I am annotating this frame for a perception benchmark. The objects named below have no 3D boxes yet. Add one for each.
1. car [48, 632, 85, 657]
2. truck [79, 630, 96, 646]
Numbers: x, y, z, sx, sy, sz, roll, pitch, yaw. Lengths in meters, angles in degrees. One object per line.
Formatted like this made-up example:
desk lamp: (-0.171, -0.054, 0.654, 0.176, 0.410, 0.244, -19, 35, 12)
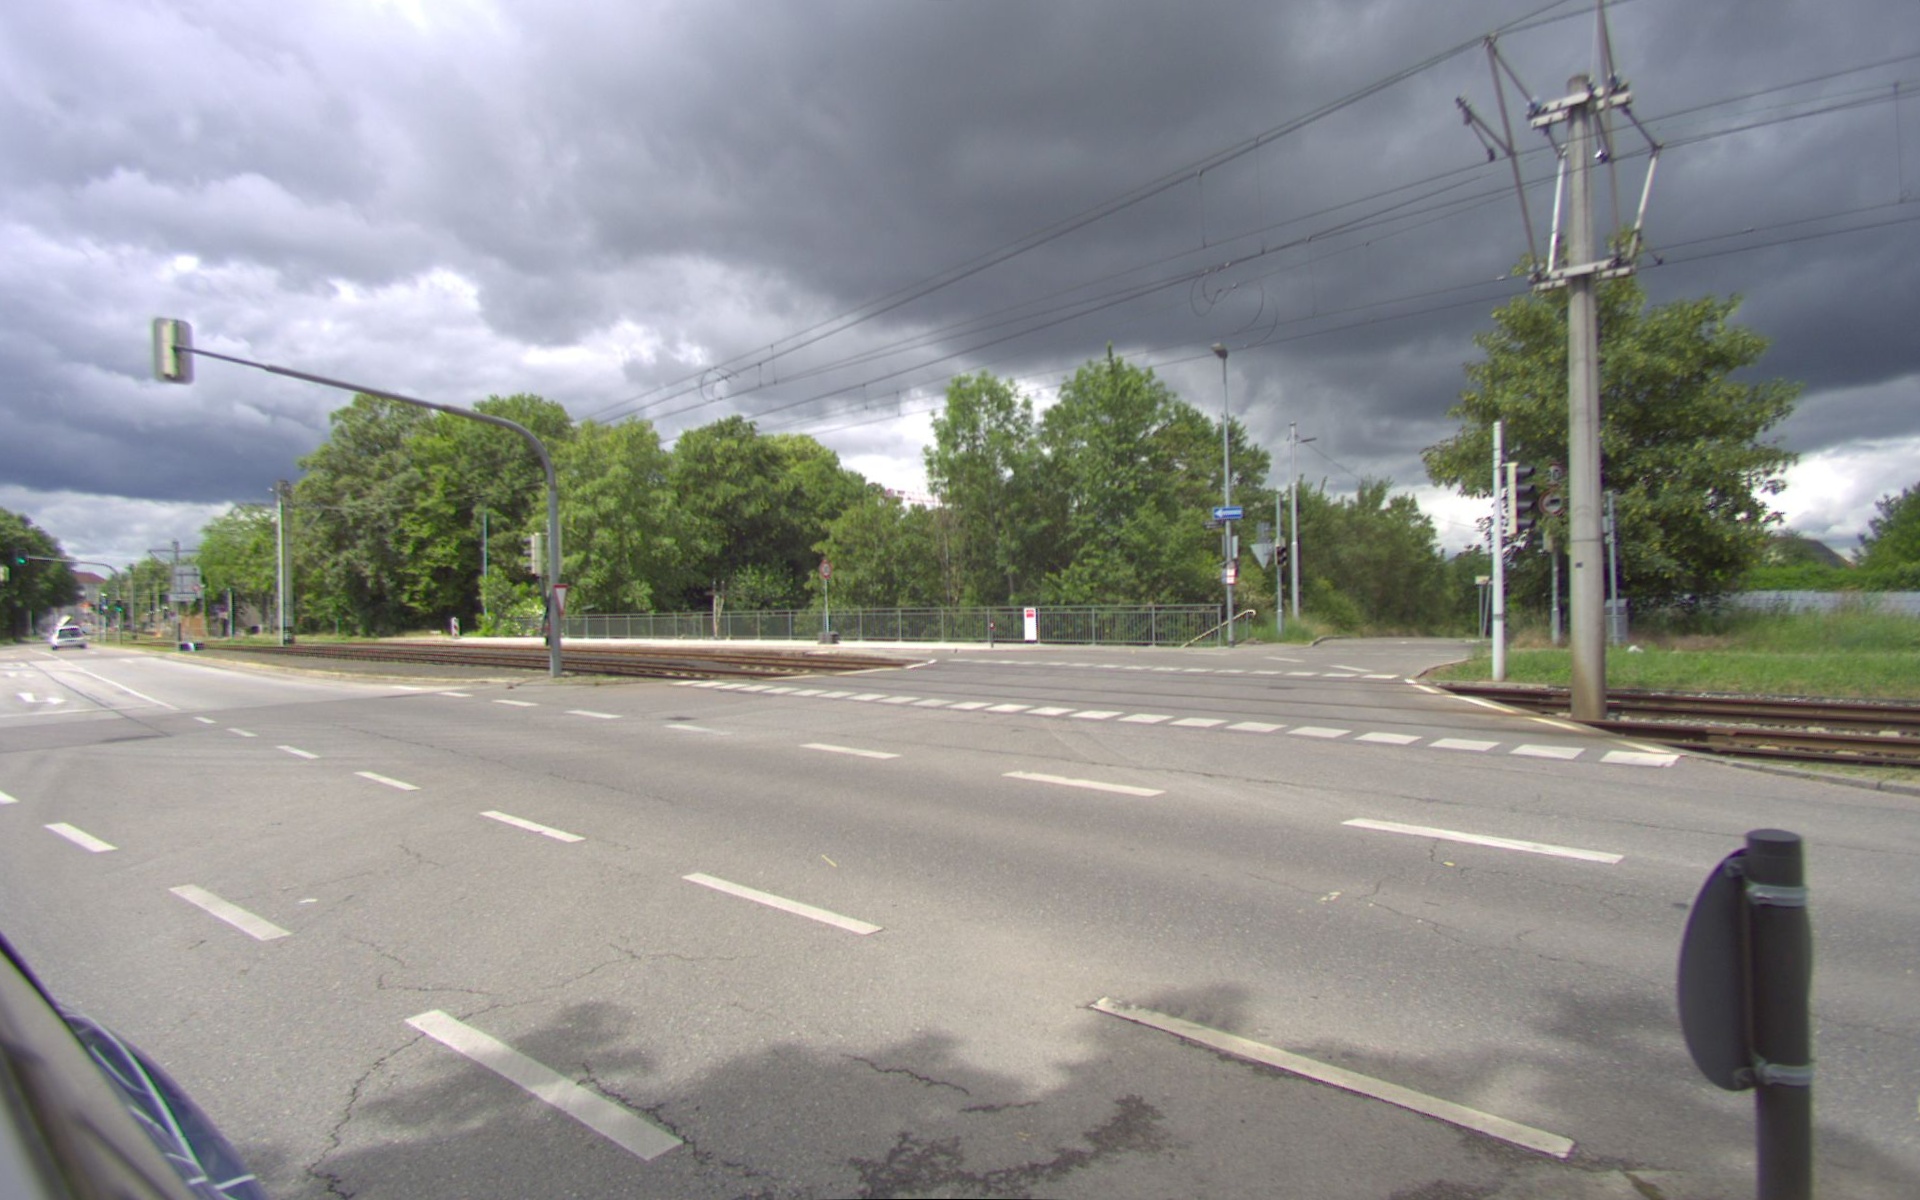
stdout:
car: (-59.304, 2.950, 67.132, 3.657, 1.538, 1.575, -1, -1, 45)
truck: (-160.372, 6.889, 185.906, 2.066, 2.759, 5.103, -3, 1, -43)
